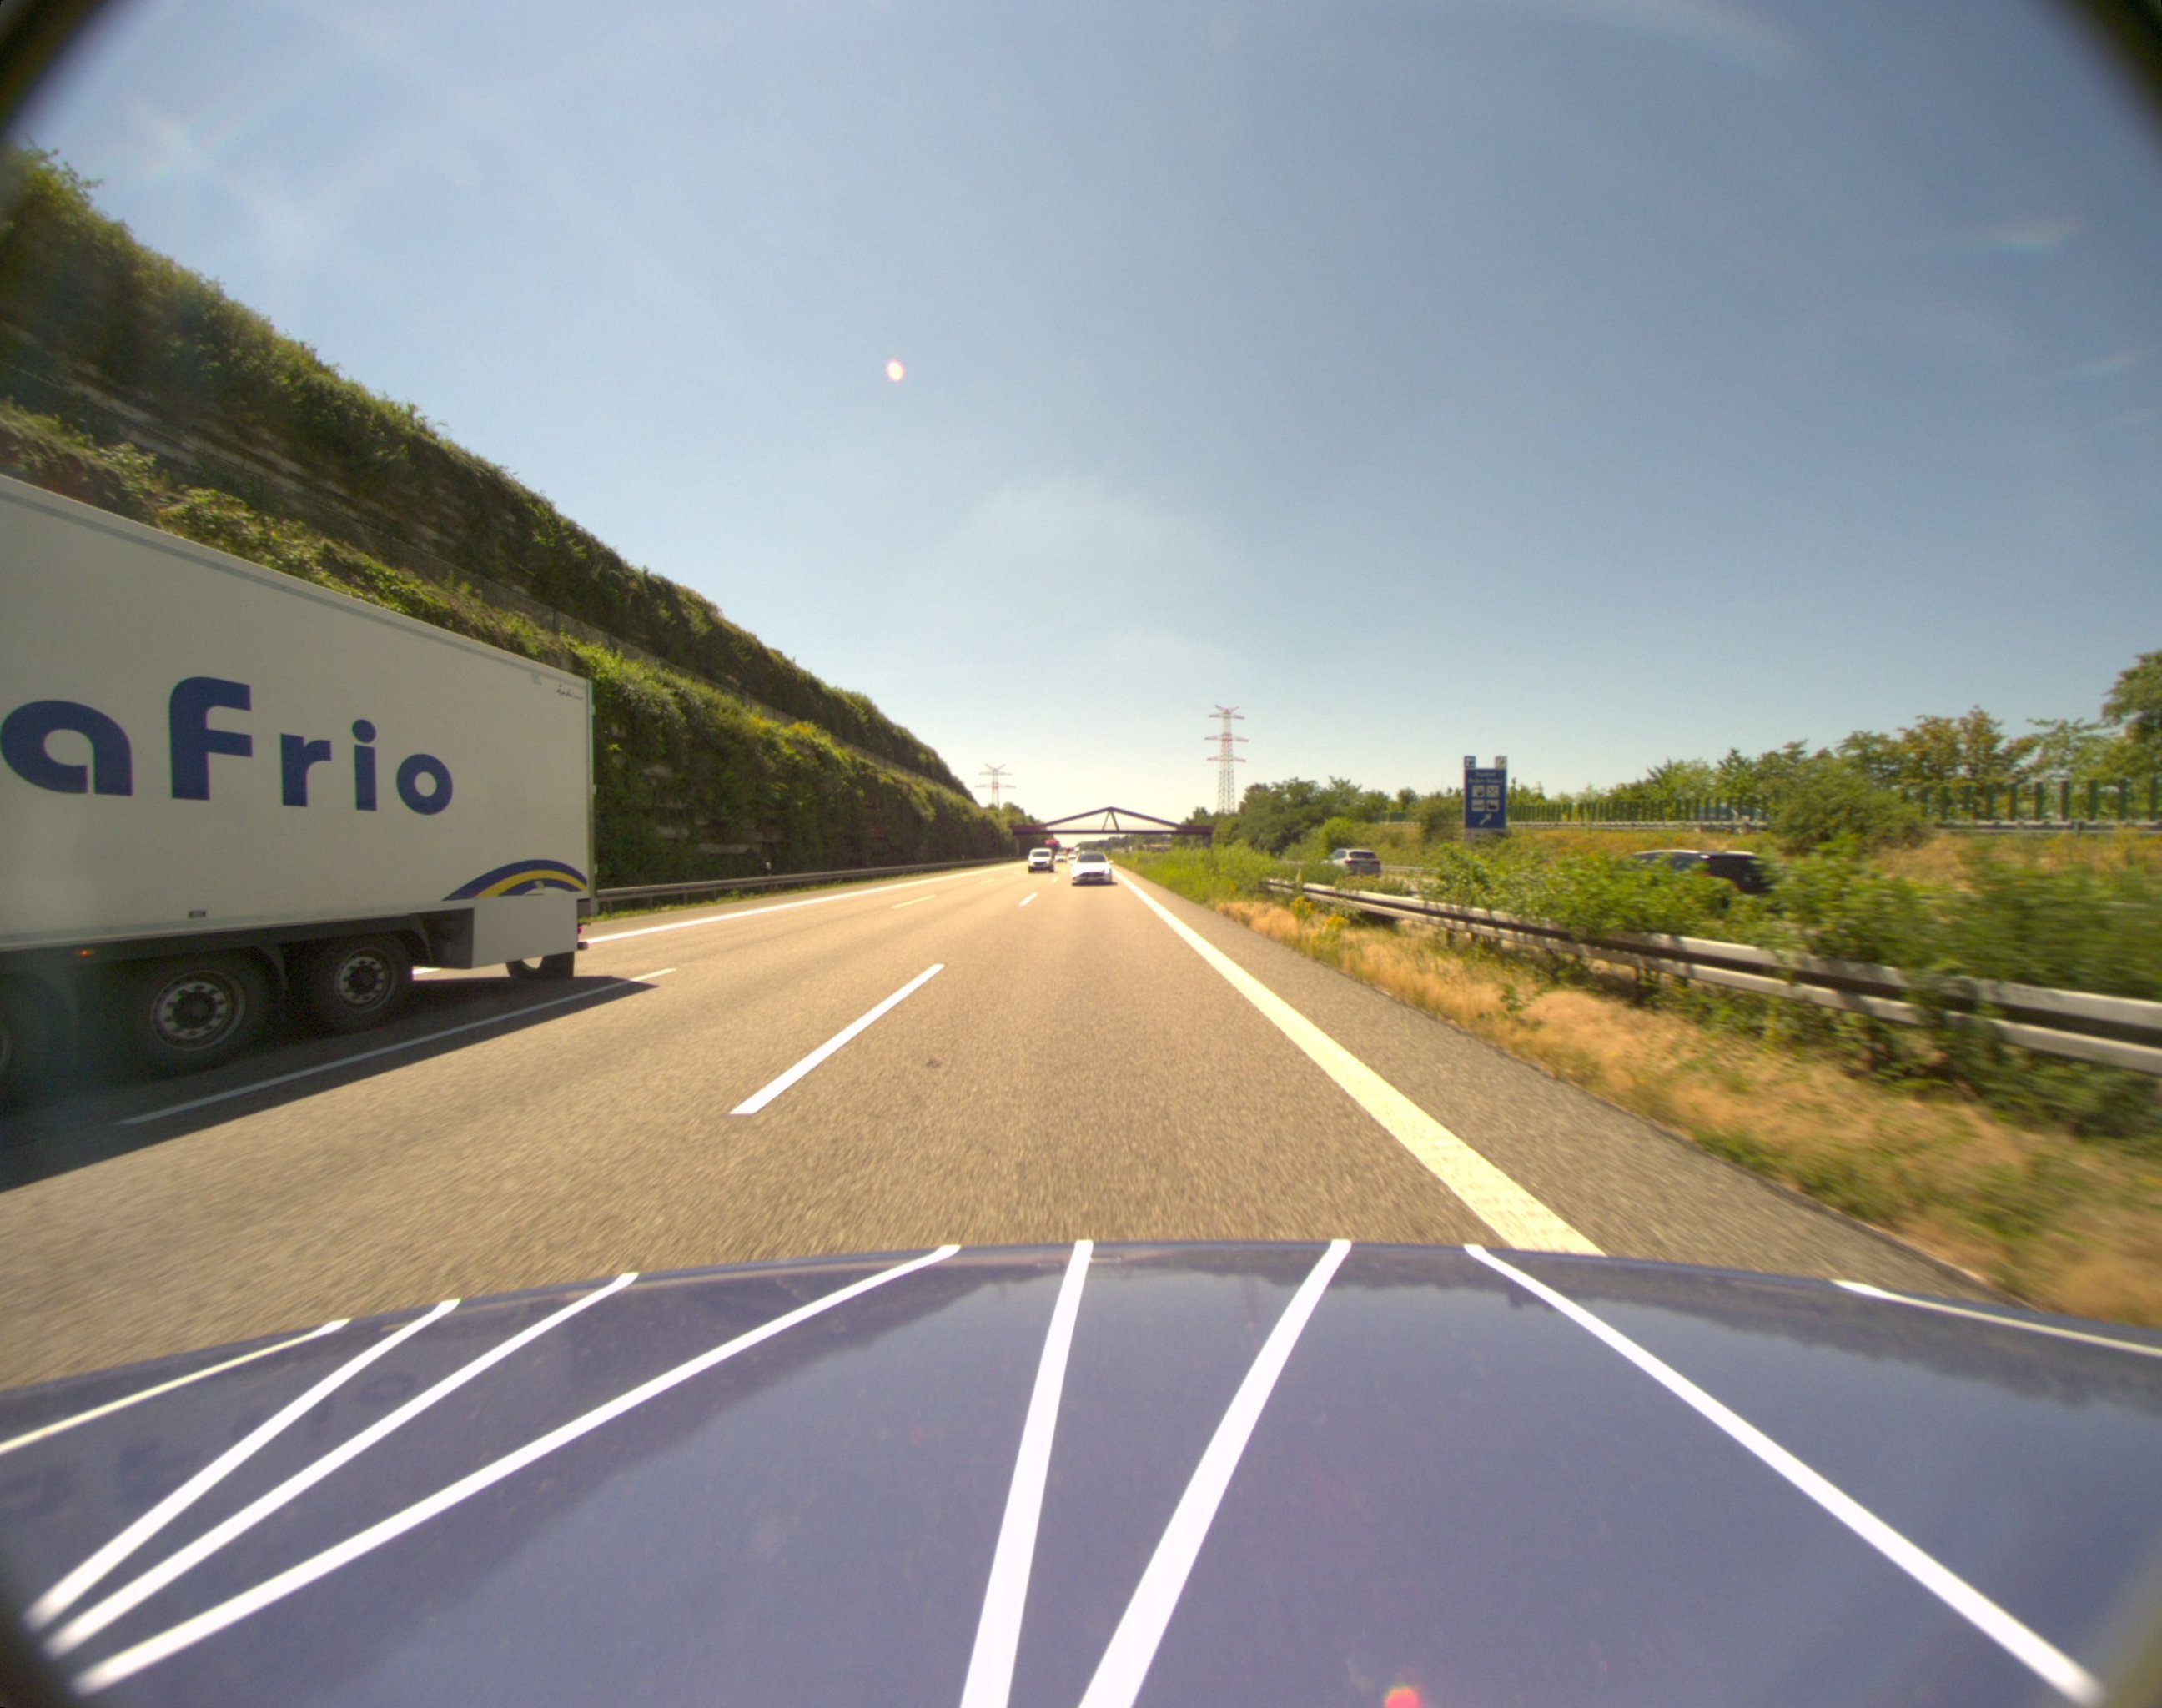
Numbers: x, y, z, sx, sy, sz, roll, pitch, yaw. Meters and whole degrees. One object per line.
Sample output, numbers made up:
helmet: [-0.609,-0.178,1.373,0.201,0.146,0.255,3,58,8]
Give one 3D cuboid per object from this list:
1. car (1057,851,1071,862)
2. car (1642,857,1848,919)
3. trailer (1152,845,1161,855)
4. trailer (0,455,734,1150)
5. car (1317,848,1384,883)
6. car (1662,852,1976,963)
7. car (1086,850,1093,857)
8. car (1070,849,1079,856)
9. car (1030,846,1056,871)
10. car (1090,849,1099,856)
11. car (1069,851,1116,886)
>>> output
car: [-2.423,0.308,108.495,1.784,1.475,3.999,-1,1,0]
car: [18.072,0.844,21.050,1.545,1.441,4.798,0,1,1]
trailer: [20.590,-1.113,208.004,1.998,2.504,4.183,0,1,0]
trailer: [-7.754,-0.310,5.352,2.521,4.187,17.026,-1,0,1]
car: [13.995,0.539,39.752,1.793,1.755,5.016,0,1,1]
car: [12.909,0.821,13.721,1.767,1.683,3.999,0,1,0]
car: [2.516,-0.269,235.440,1.998,2.002,4.000,-2,1,2]
car: [-1.352,-0.319,153.123,1.784,1.475,3.999,0,1,0]
car: [-2.906,0.333,58.467,1.784,1.783,3.999,-1,1,0]
car: [2.911,-0.270,158.938,1.784,1.475,3.999,0,1,0]
car: [0.499,0.610,35.275,1.998,1.474,4.107,-1,1,0]
